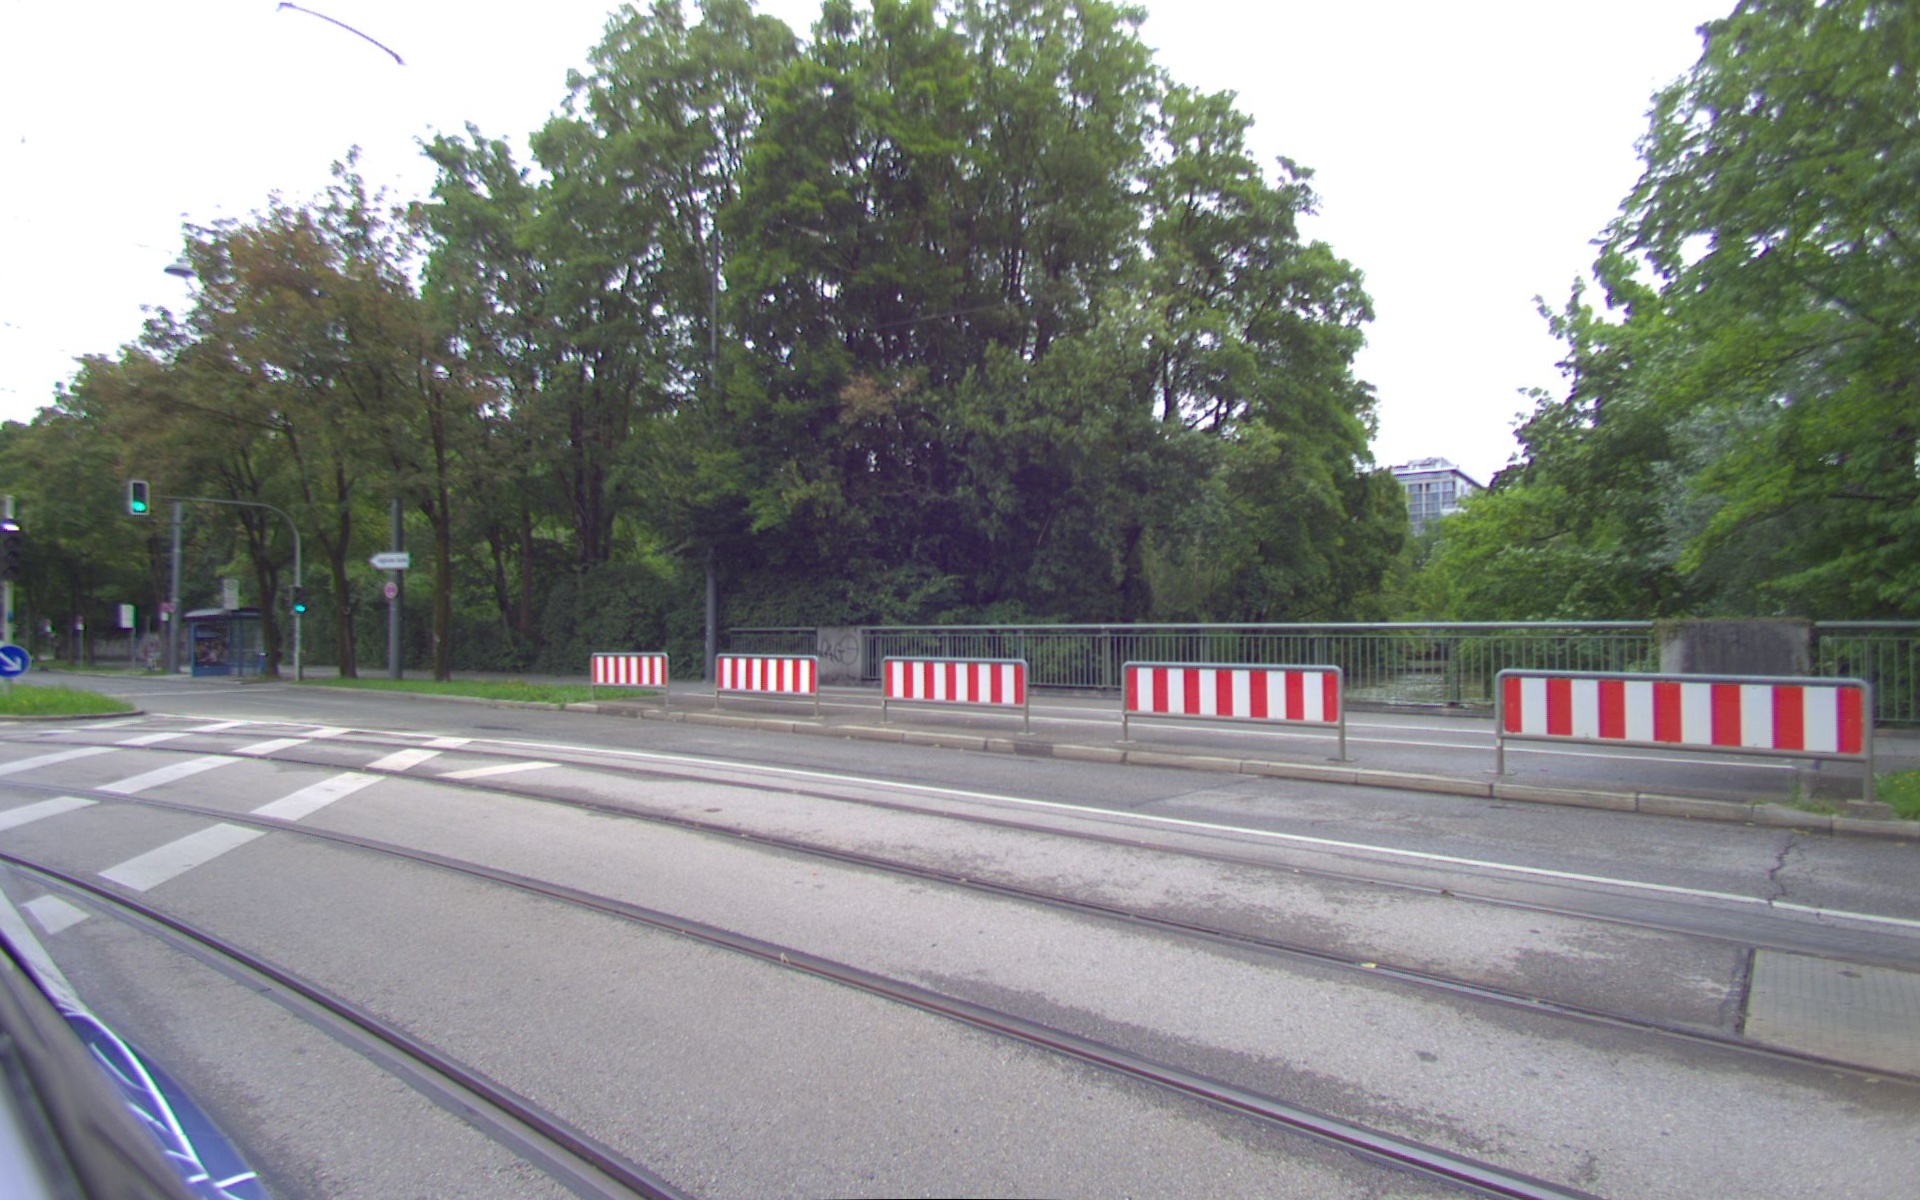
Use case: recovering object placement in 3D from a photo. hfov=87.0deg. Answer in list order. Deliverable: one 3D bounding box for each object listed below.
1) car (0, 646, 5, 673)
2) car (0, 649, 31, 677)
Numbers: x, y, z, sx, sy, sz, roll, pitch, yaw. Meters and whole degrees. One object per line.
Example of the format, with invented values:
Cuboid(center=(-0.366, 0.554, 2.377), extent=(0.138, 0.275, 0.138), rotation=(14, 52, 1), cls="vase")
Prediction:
Cuboid(center=(-64.727, 3.932, 66.843), extent=(3.996, 1.739, 1.864), rotation=(-1, 0, 40), cls="car")
Cuboid(center=(-60.132, 3.952, 63.731), extent=(3.996, 1.552, 1.865), rotation=(-1, 0, 39), cls="car")
